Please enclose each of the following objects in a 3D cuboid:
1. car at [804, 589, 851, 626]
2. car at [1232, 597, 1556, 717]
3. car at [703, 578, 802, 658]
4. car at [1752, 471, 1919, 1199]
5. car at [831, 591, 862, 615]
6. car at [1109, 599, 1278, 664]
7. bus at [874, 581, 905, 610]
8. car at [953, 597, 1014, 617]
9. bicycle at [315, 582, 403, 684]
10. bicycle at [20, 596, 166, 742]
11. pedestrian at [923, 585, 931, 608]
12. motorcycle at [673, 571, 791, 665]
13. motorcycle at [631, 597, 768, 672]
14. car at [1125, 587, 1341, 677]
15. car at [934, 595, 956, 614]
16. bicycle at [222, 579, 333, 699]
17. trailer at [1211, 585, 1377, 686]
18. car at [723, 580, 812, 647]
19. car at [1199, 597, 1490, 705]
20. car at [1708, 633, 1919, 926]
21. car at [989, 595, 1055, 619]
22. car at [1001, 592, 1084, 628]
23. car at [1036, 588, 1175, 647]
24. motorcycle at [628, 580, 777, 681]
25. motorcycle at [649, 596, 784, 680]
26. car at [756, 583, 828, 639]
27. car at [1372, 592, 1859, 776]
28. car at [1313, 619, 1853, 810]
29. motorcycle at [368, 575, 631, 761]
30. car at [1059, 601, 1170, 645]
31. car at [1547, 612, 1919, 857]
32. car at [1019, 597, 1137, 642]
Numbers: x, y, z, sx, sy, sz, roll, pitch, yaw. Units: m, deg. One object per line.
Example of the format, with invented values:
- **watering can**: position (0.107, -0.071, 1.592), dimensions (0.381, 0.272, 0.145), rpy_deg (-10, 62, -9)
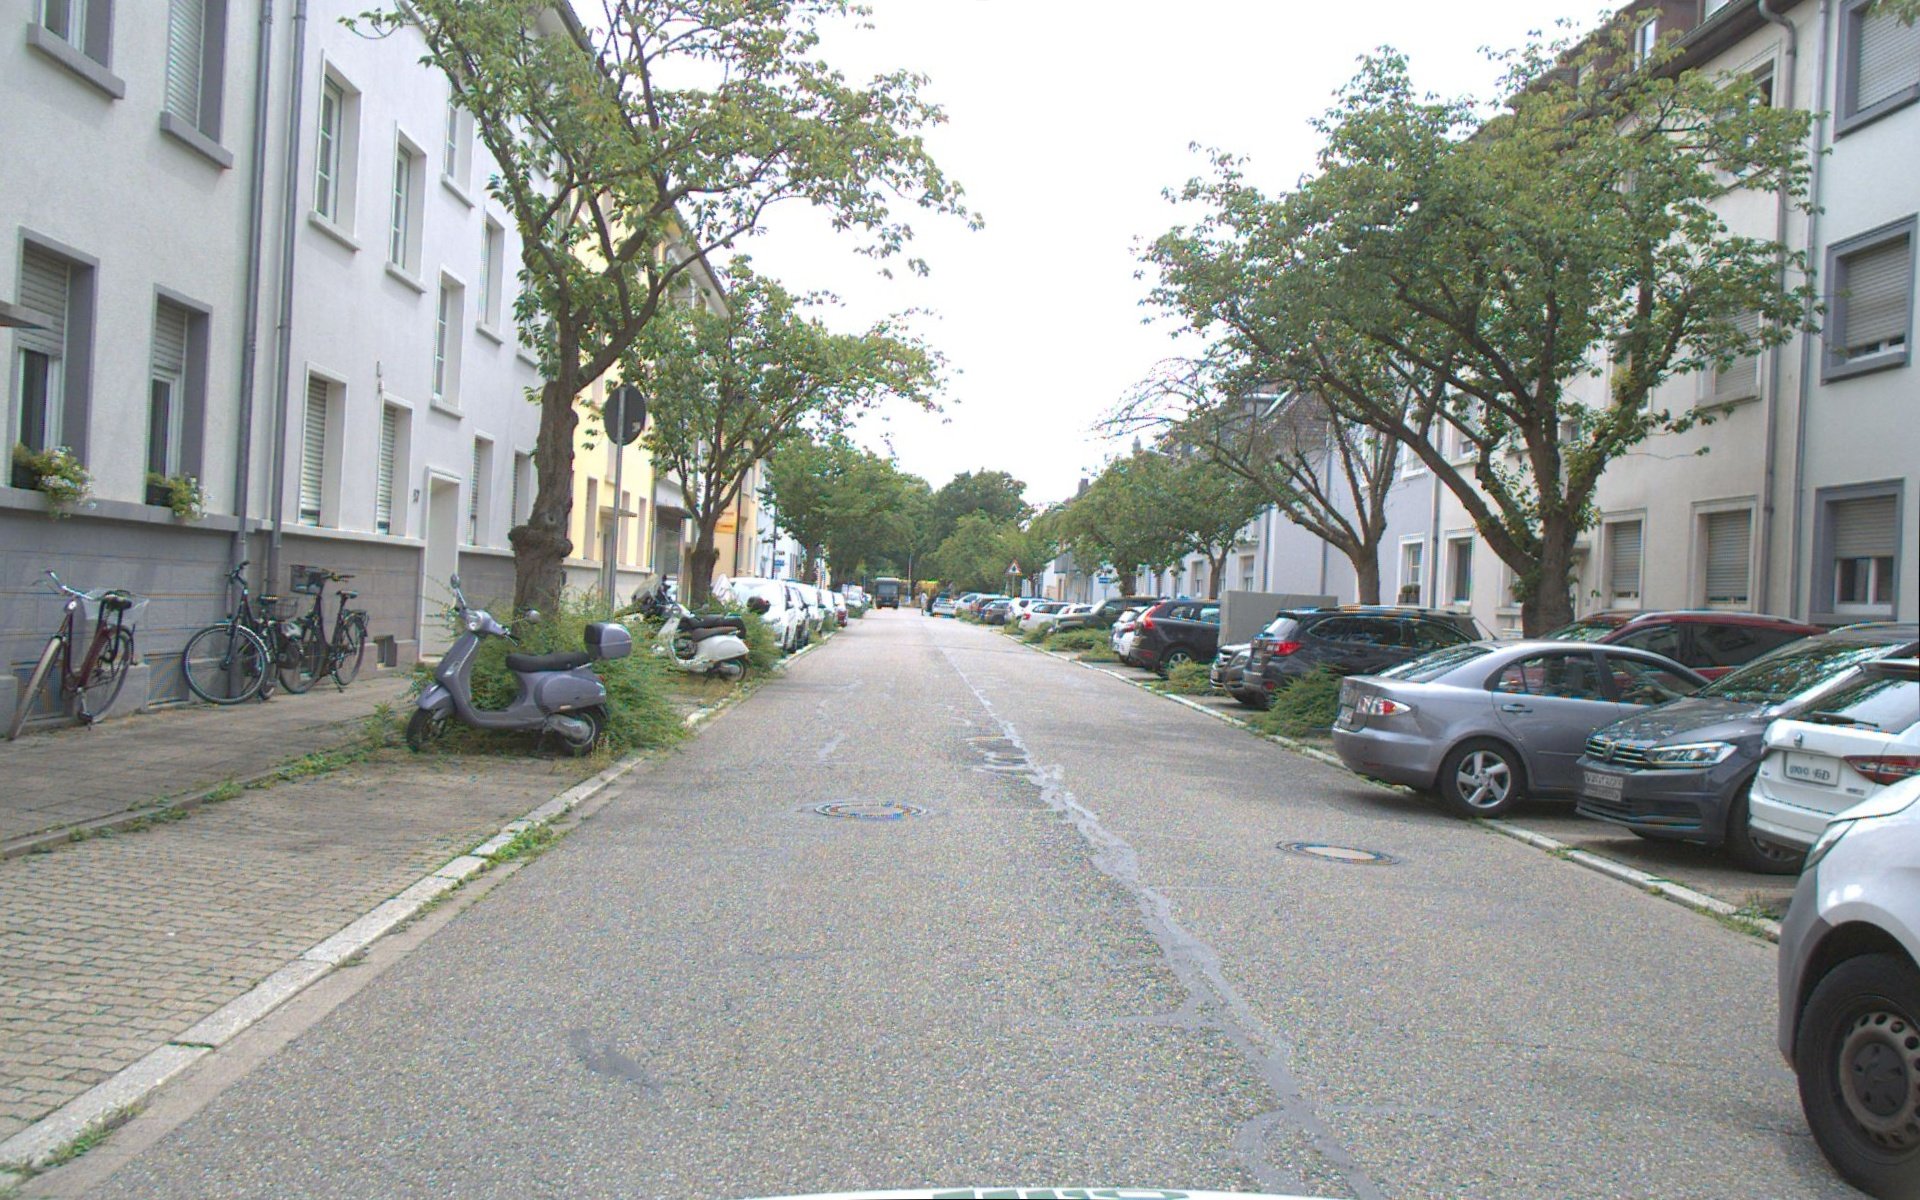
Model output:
- **car**: position (-5.667, 0.333, 71.091), dimensions (1.839, 1.512, 4.510), rpy_deg (1, 0, -2)
- **car**: position (6.179, 0.796, 23.826), dimensions (4.132, 1.626, 1.902), rpy_deg (1, 0, -5)
- **car**: position (-4.412, 0.373, 35.742), dimensions (1.722, 1.583, 4.254), rpy_deg (2, 0, -2)
- **car**: position (3.641, 0.689, 2.841), dimensions (1.955, 1.948, 4.700), rpy_deg (4, 0, -4)
- **car**: position (-7.518, 0.202, 109.470), dimensions (1.727, 1.581, 3.731), rpy_deg (0, 0, 1)
- **car**: position (5.803, 0.777, 41.352), dimensions (3.909, 1.557, 1.766), rpy_deg (1, 0, -5)
- **bus**: position (-7.154, -0.417, 166.807), dimensions (2.944, 2.809, 8.918), rpy_deg (1, 0, -3)
- **car**: position (1.917, 0.571, 135.403), dimensions (4.877, 1.545, 1.767), rpy_deg (1, 0, -4)
- **bicycle**: position (-6.299, 0.336, 17.396), dimensions (0.411, 1.024, 1.434), rpy_deg (0, 0, -1)
- **bicycle**: position (-6.180, 0.467, 11.848), dimensions (0.303, 0.983, 1.434), rpy_deg (0, 0, -1)
- **pedestrian**: position (-2.528, -0.287, 126.822), dimensions (0.511, 1.734, 0.444), rpy_deg (0, 0, 1)
- **motorcycle**: position (-4.416, 0.334, 31.895), dimensions (2.433, 1.705, 0.932), rpy_deg (2, 0, 45)
- **motorcycle**: position (-4.754, 0.627, 30.260), dimensions (2.399, 1.334, 0.643), rpy_deg (1, 0, -2)
- **car**: position (5.552, 0.644, 34.051), dimensions (4.128, 1.766, 1.903), rpy_deg (1, 0, 0)
- **car**: position (-1.135, 0.333, 127.016), dimensions (1.653, 1.378, 3.825), rpy_deg (1, 0, -1)
- **bicycle**: position (-6.100, 0.335, 14.837), dimensions (0.411, 1.024, 1.434), rpy_deg (0, 0, -1)
- **trailer**: position (6.362, 0.664, 31.689), dimensions (2.899, 1.863, 1.401), rpy_deg (0, 0, 1)
- **car**: position (-4.791, 0.347, 41.800), dimensions (1.754, 1.518, 4.810), rpy_deg (3, -1, -2)
- **car**: position (6.041, 0.784, 26.283), dimensions (4.132, 1.626, 1.902), rpy_deg (1, 0, -5)
- **car**: position (6.497, 0.937, 9.257), dimensions (3.907, 1.445, 1.637), rpy_deg (1, 0, -3)
- **car**: position (3.548, 0.402, 95.222), dimensions (3.671, 1.389, 1.772), rpy_deg (1, 0, -2)
- **car**: position (3.960, 0.470, 79.543), dimensions (3.844, 1.661, 1.867), rpy_deg (1, 0, -2)
- **car**: position (4.766, 0.569, 54.491), dimensions (4.432, 1.890, 1.793), rpy_deg (1, 0, 0)
- **motorcycle**: position (-3.970, 0.465, 25.547), dimensions (2.207, 1.507, 0.591), rpy_deg (1, 0, -29)
- **motorcycle**: position (-3.602, 0.552, 24.514), dimensions (1.885, 1.212, 0.591), rpy_deg (1, 0, -29)
- **car**: position (-5.070, 0.338, 50.414), dimensions (1.880, 1.609, 4.380), rpy_deg (1, 0, -2)
- **car**: position (6.436, 0.795, 16.582), dimensions (4.128, 1.707, 1.903), rpy_deg (1, 0, 0)
- **car**: position (5.146, 0.922, 13.987), dimensions (3.907, 1.480, 1.765), rpy_deg (1, 0, -3)
- **motorcycle**: position (-3.680, 0.532, 13.360), dimensions (1.977, 1.432, 0.790), rpy_deg (1, 0, -14)
- **car**: position (5.318, 0.793, 57.139), dimensions (3.555, 1.480, 1.771), rpy_deg (1, 0, -6)
- **car**: position (6.342, 0.884, 11.541), dimensions (3.907, 1.563, 1.637), rpy_deg (1, 0, -3)
- **car**: position (4.661, 0.762, 65.680), dimensions (4.521, 1.693, 1.892), rpy_deg (1, 0, -2)
